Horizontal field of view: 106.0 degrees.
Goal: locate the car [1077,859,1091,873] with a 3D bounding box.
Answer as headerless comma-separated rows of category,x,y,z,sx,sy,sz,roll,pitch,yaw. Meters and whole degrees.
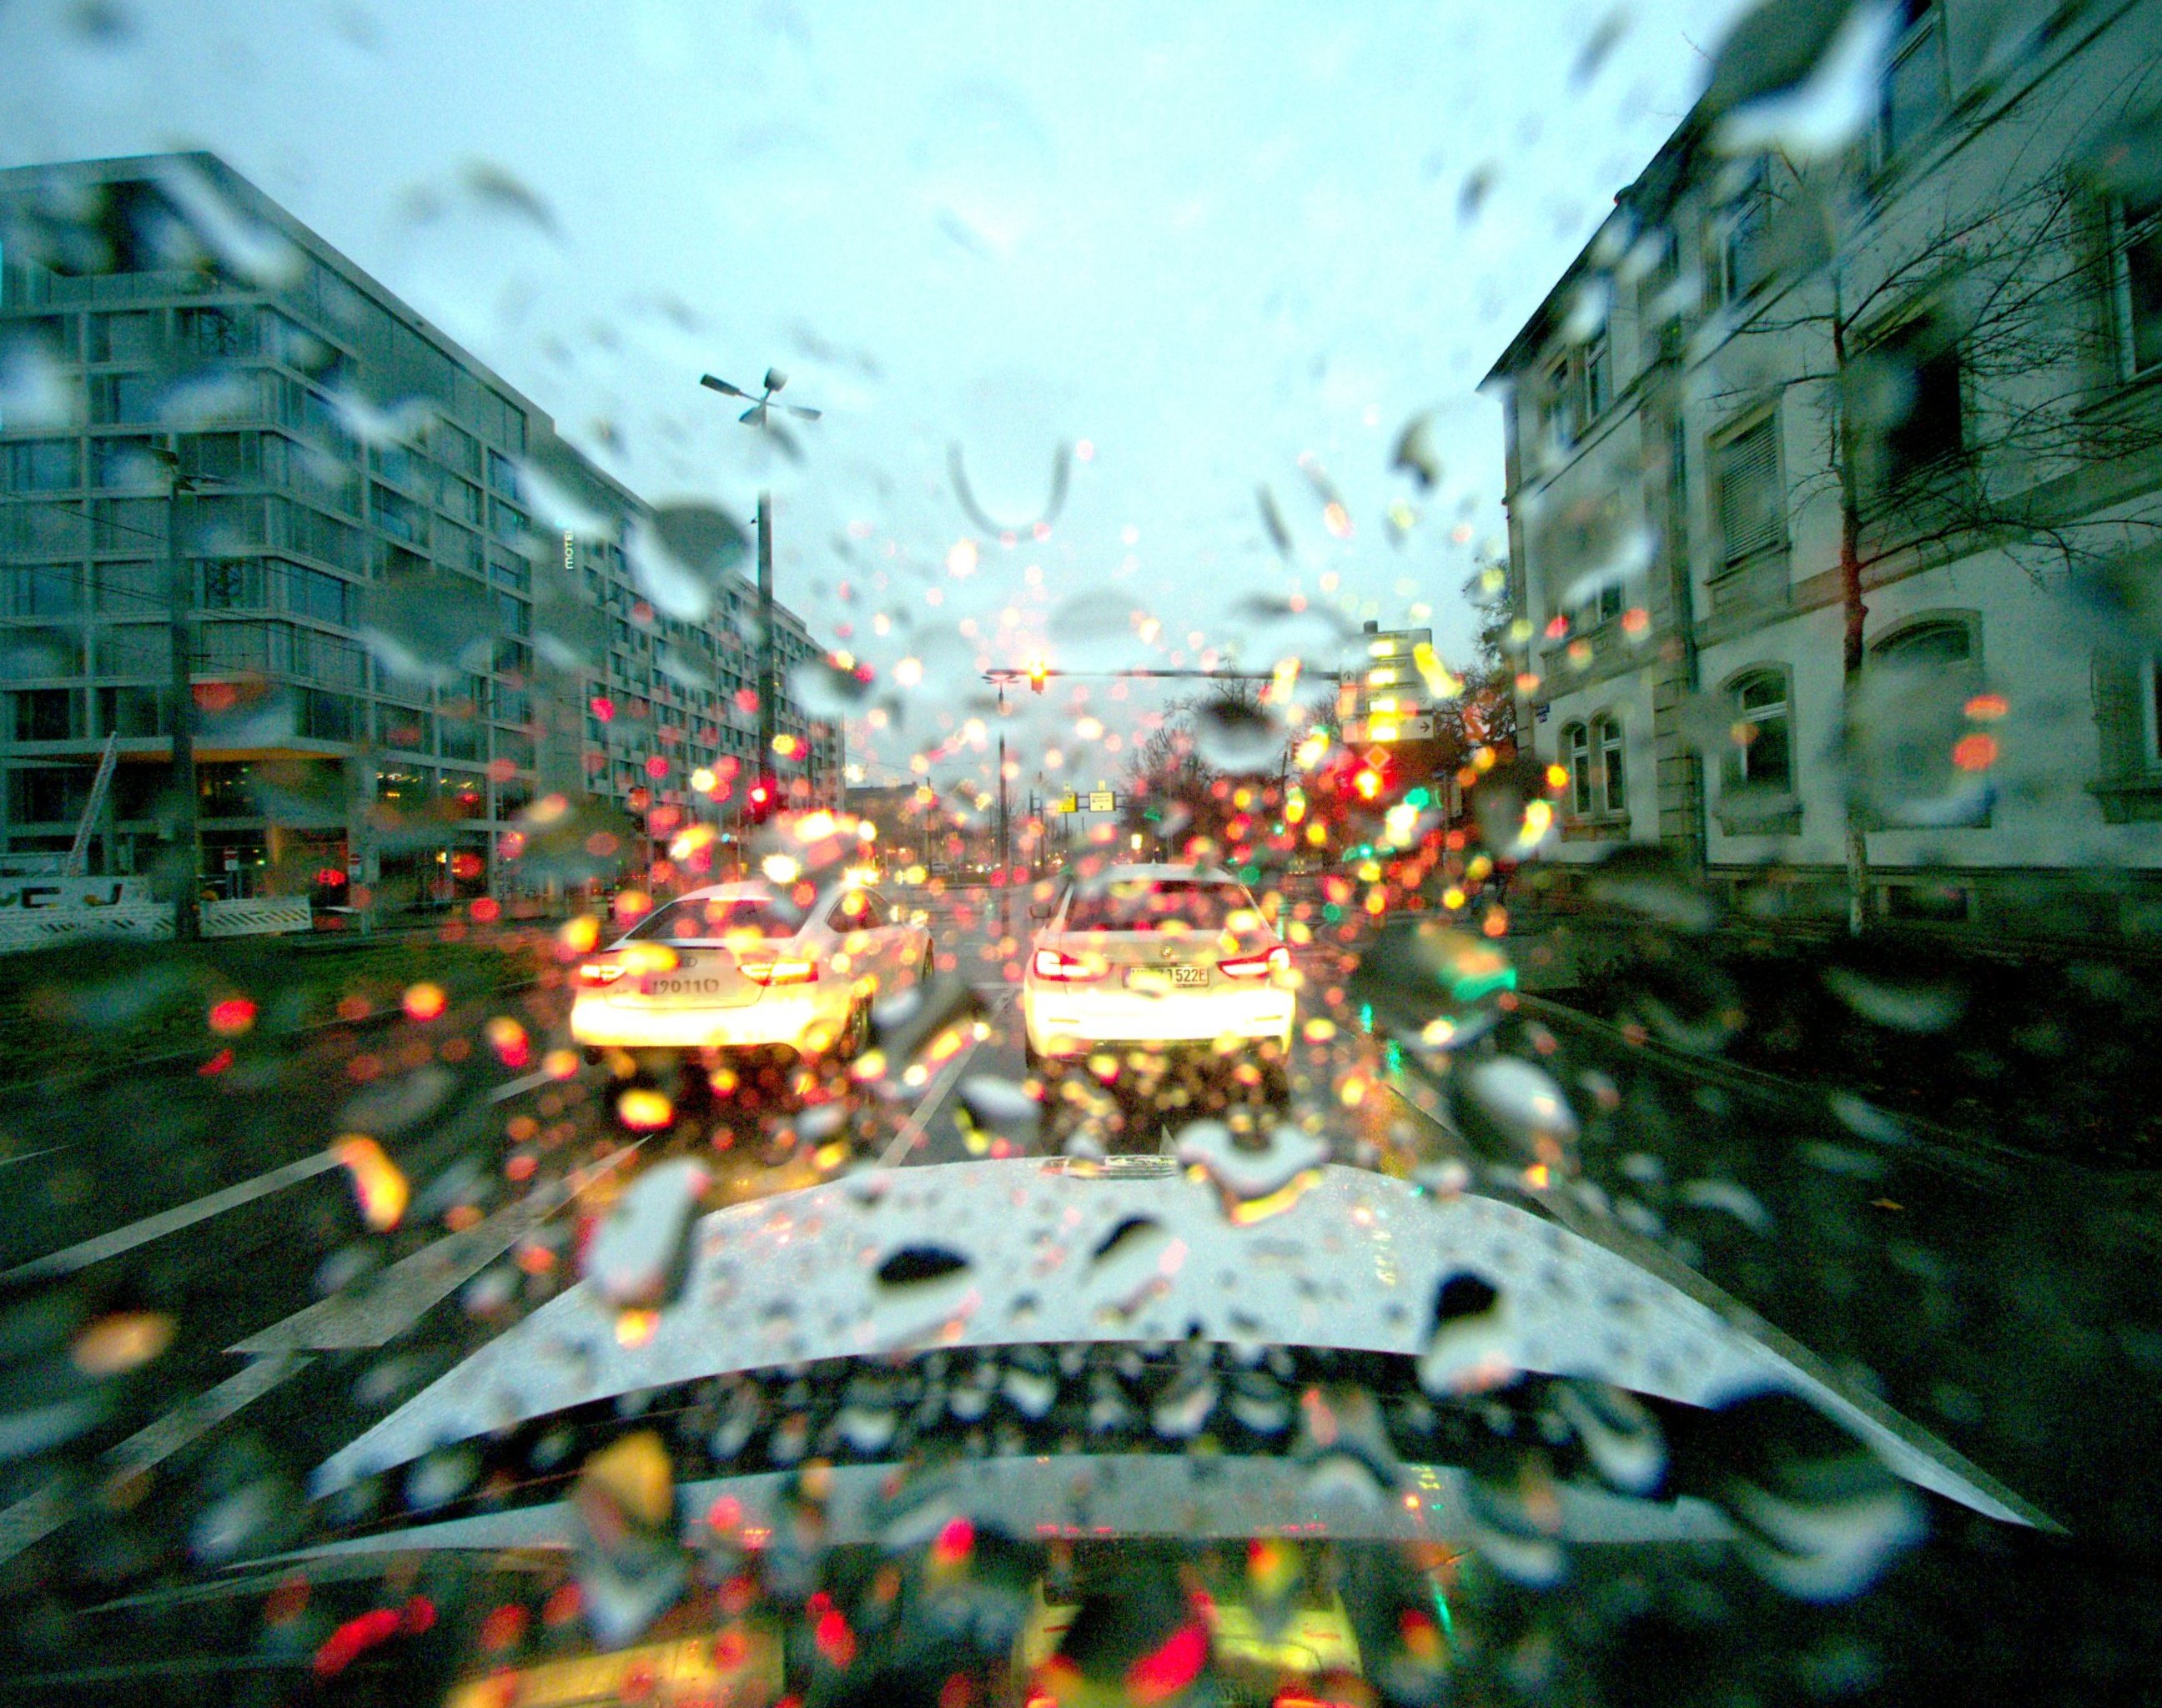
car,0.484,1.793,123.233,1.986,2.014,4.001,0,-1,2

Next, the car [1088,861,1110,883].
car,1.714,1.641,77.298,1.986,2.014,4.001,0,-1,2

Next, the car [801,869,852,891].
car,-18.646,1.878,59.976,1.986,1.462,5.097,0,0,2

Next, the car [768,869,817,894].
car,-21.778,2.036,61.650,1.874,1.789,4.601,0,-1,2

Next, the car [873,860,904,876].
car,-18.805,1.357,79.711,1.988,1.462,5.090,0,0,-2

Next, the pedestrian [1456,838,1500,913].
pedestrian,8.588,0.462,17.655,0.775,1.579,1.016,-1,-1,21

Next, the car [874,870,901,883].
car,-23.149,2.645,97.501,1.987,1.462,5.094,0,0,0

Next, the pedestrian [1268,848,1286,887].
pedestrian,9.564,0.676,39.792,0.671,1.879,0.715,0,-1,-1

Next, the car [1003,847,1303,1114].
car,0.419,0.756,6.926,1.754,1.552,4.250,0,-1,0

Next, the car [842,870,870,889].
car,-19.054,2.129,69.210,1.995,1.462,5.073,0,-1,-12

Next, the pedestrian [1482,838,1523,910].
pedestrian,9.931,0.464,19.160,0.774,1.632,1.017,-1,-1,31

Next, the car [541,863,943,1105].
car,-2.457,0.821,7.166,1.754,1.470,4.250,0,-1,0
